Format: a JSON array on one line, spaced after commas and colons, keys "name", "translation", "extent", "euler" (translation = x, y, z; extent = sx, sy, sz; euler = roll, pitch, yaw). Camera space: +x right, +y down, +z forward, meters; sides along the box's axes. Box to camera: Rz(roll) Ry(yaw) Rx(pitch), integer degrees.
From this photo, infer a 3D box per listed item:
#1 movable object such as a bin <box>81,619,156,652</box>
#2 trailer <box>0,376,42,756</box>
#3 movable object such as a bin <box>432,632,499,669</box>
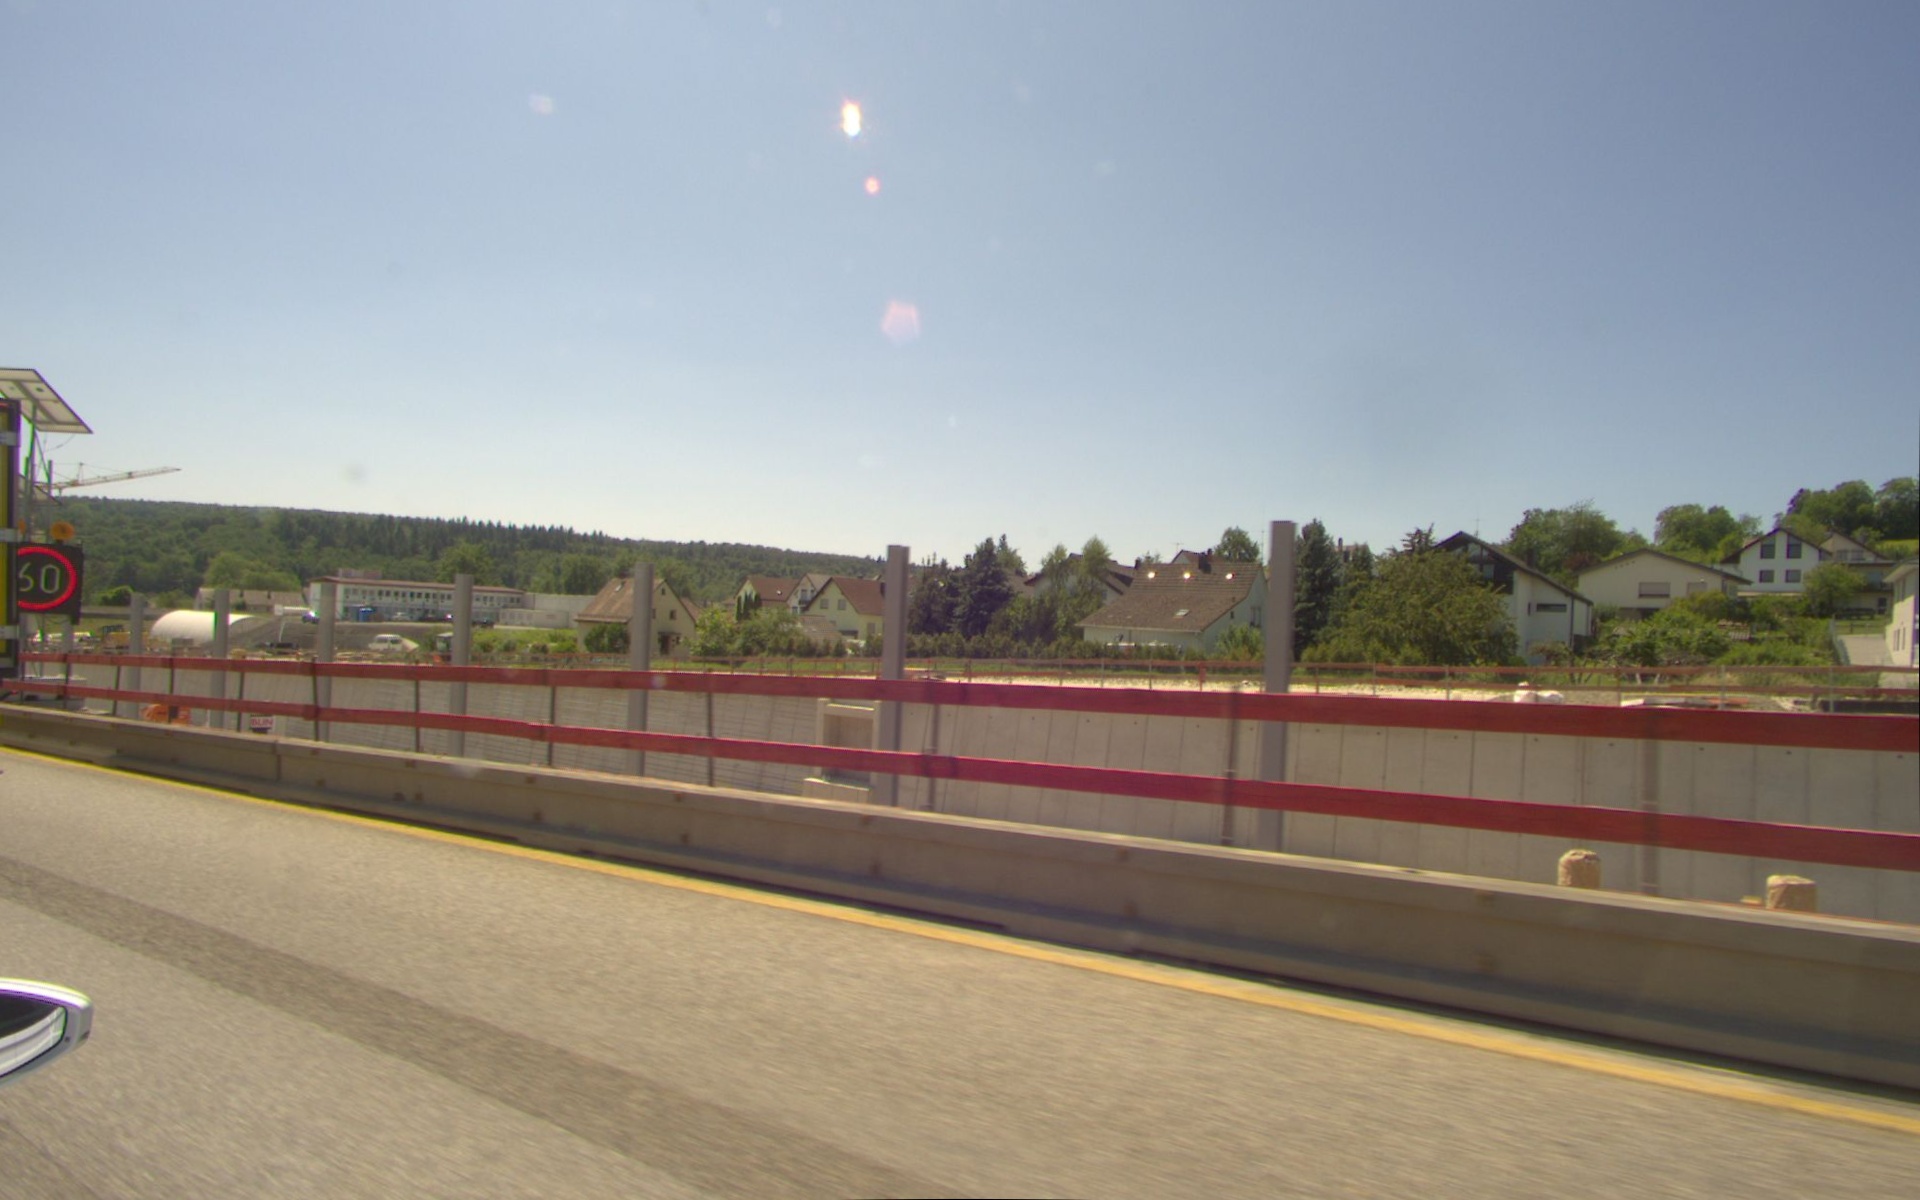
[{"name": "movable object such as a bin", "translation": [-80.076, 3.369, 95.214], "extent": [9.346, 2.946, 2.882], "euler": [-1, -2, 33]}, {"name": "trailer", "translation": [-16.811, -0.259, 13.644], "extent": [13.915, 4.110, 2.796], "euler": [-1, -1, 32]}, {"name": "movable object such as a bin", "translation": [-31.163, 3.164, 63.117], "extent": [4.093, 2.267, 1.990], "euler": [-1, -2, 33]}]
